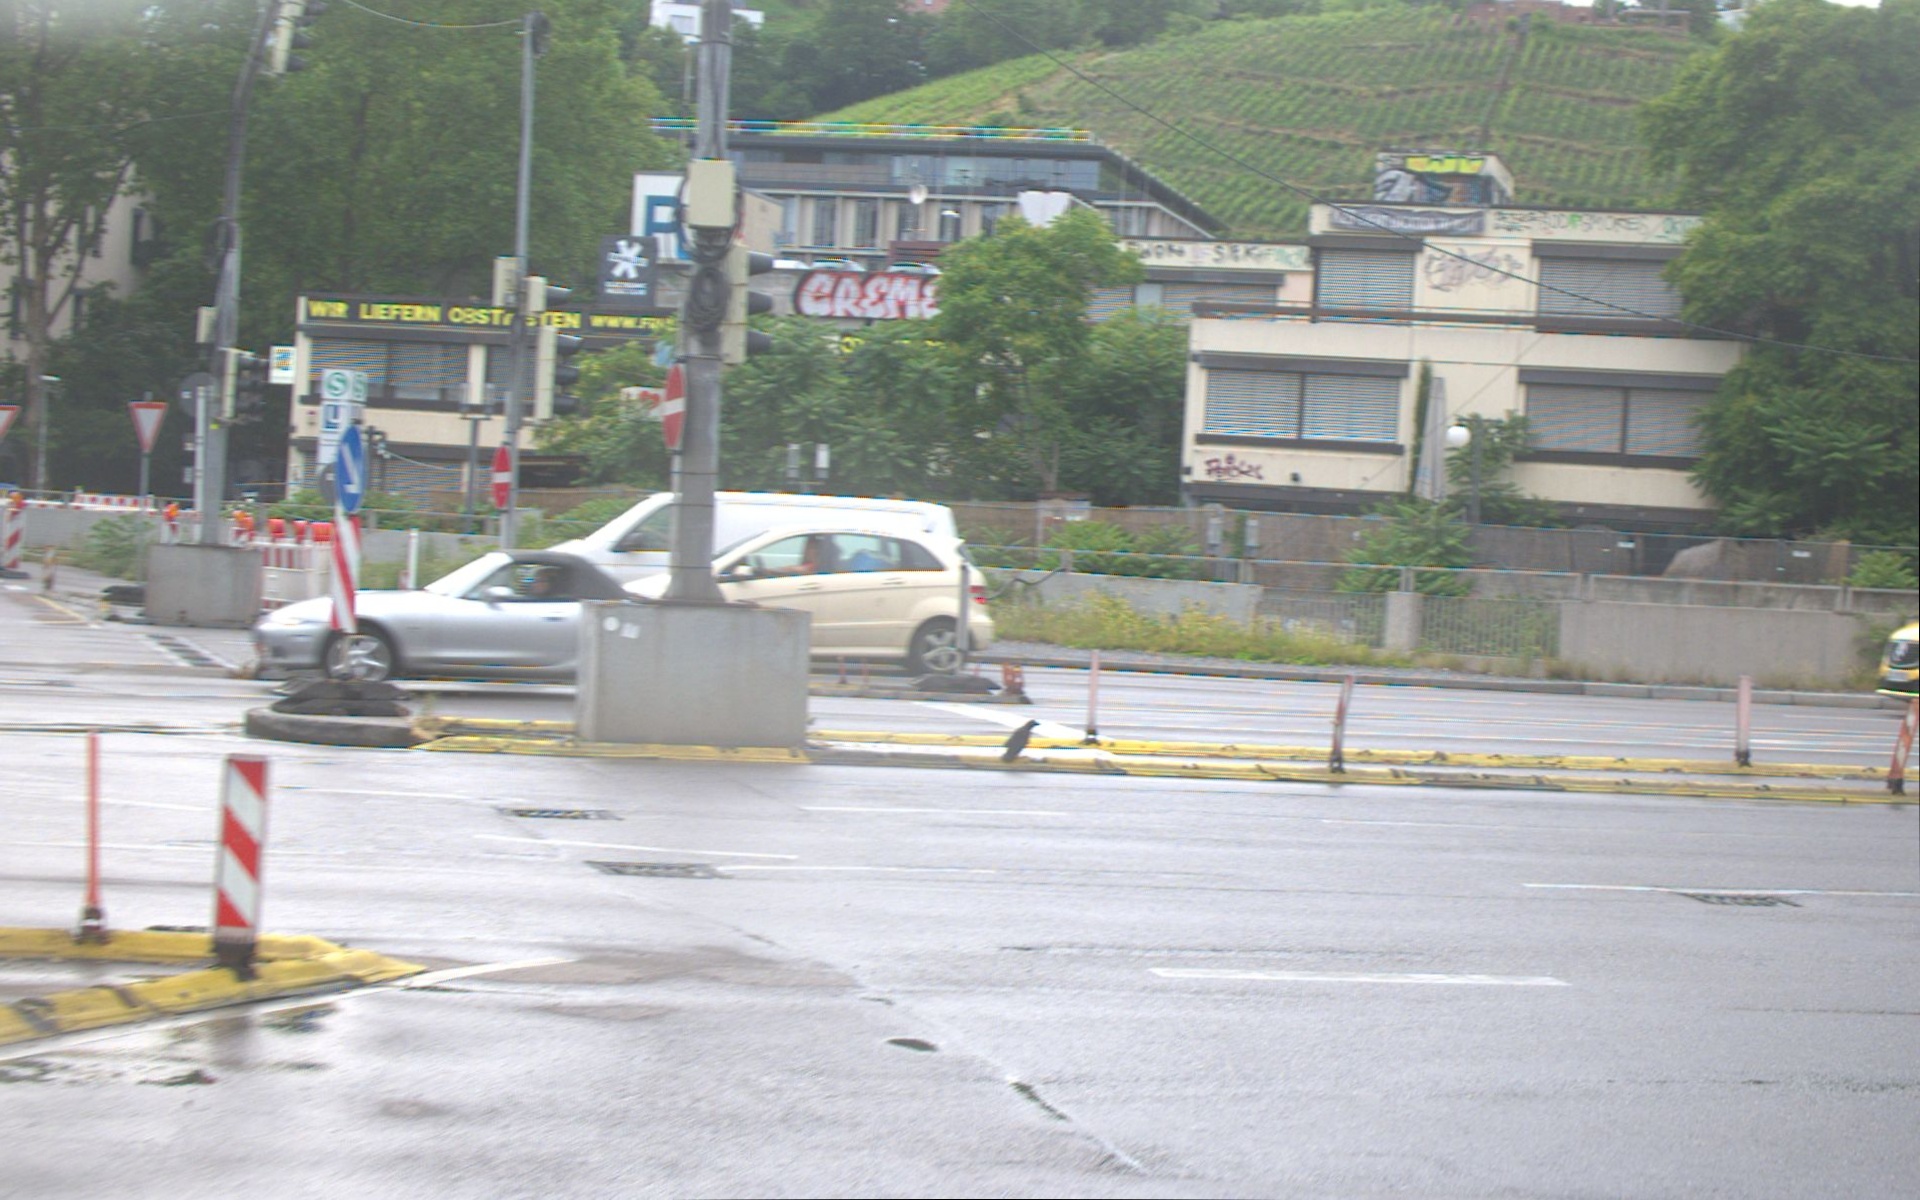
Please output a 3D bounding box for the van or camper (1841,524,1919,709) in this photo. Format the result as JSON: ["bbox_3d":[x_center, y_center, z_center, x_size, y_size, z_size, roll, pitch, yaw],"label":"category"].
[{"bbox_3d":[13.467,0.322,40.170,5.587,2.047,2.247,3,2,-10],"label":"van or camper"}]

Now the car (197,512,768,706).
[{"bbox_3d":[-3.989,0.064,28.591,4.513,1.305,1.643,3,2,-11],"label":"car"}]

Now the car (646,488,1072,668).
[{"bbox_3d":[-1.138,-0.252,37.552,4.365,1.667,1.849,3,2,-9],"label":"car"}]

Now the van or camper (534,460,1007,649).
[{"bbox_3d":[-2.245,-0.544,40.406,5.194,1.887,1.888,3,2,-14],"label":"van or camper"}]
